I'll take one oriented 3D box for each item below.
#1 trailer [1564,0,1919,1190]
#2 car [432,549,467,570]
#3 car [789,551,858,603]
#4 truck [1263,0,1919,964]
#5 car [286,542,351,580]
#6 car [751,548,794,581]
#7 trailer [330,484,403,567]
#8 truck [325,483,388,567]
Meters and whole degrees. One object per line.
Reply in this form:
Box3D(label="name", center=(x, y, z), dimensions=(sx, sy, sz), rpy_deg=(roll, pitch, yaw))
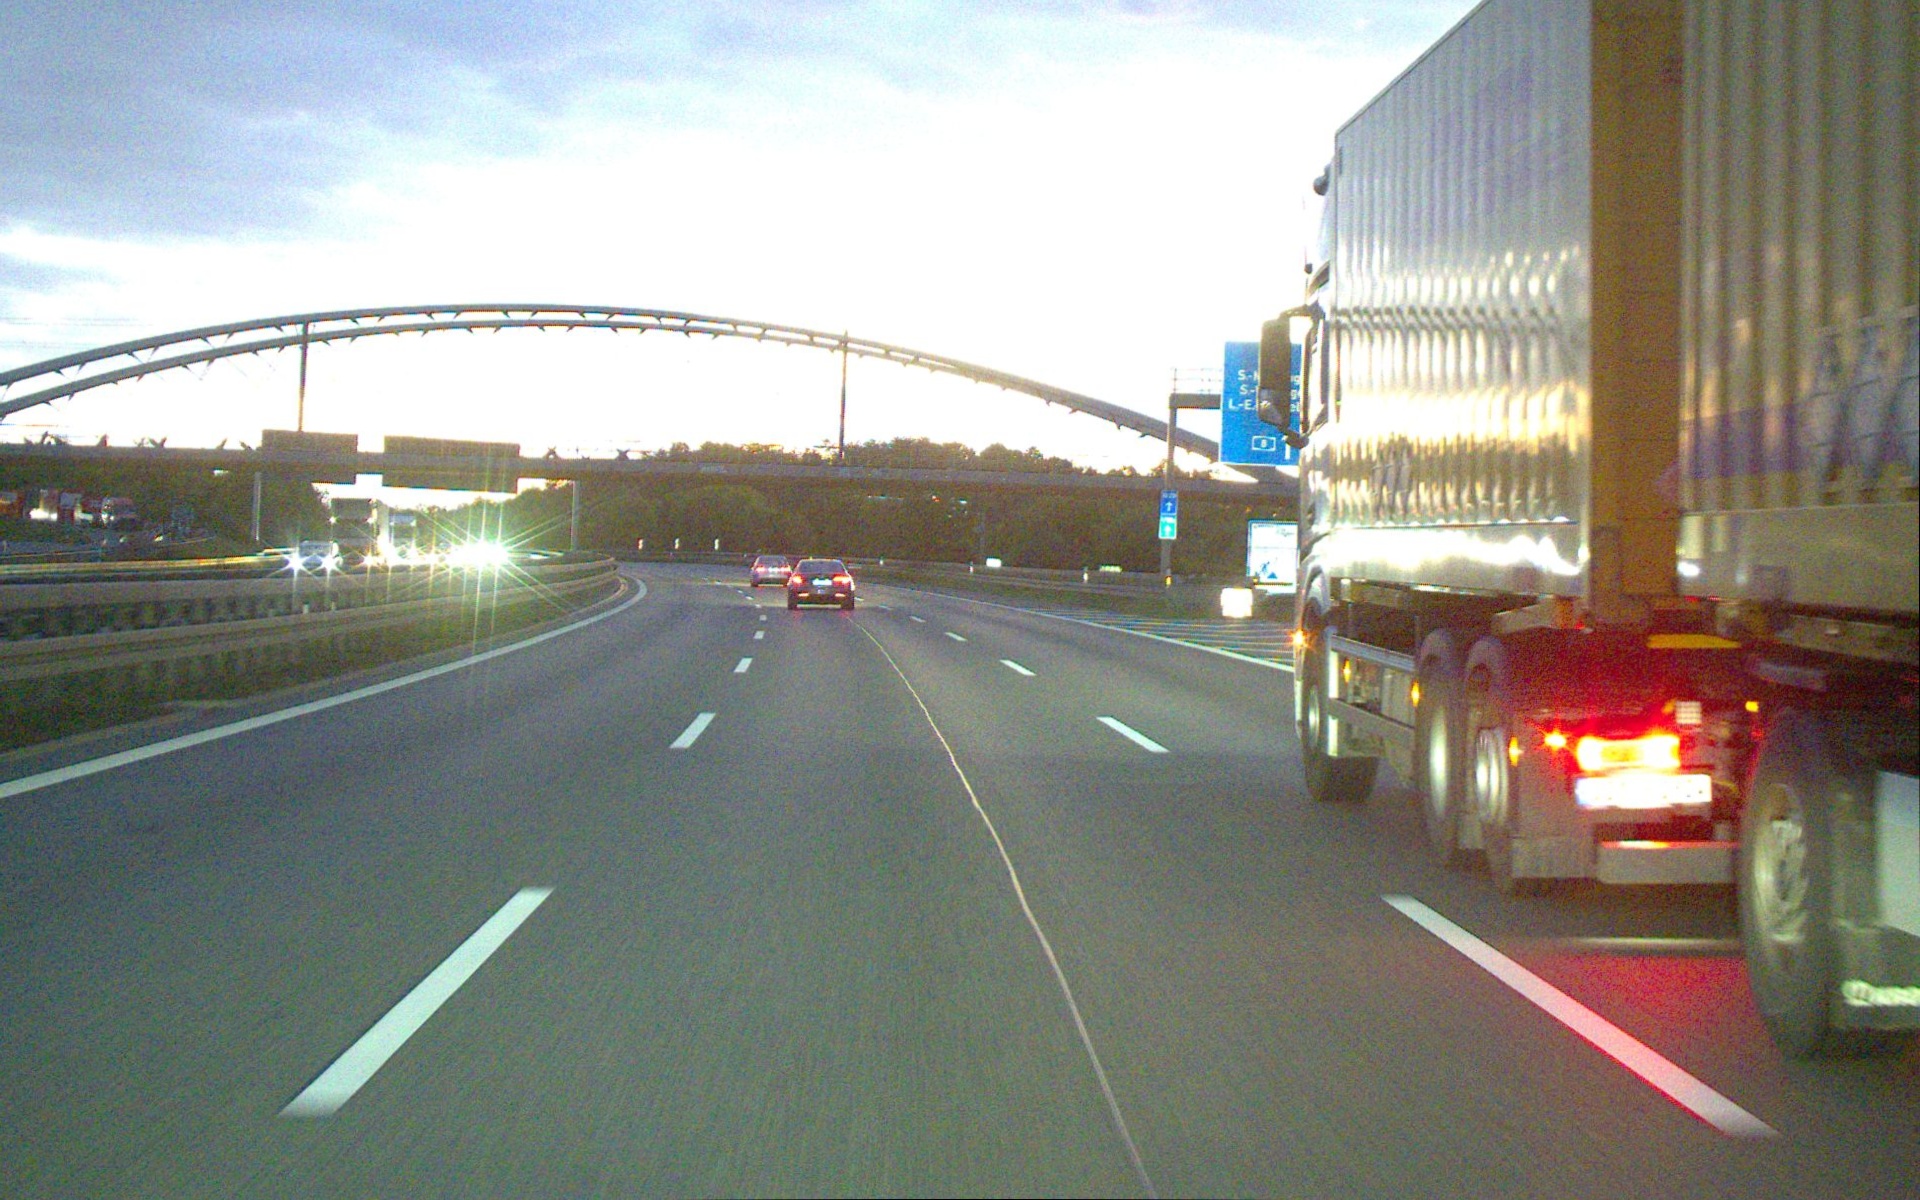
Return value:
Box3D(label="trailer", center=(3.642, -0.625, 8.050), dimensions=(2.722, 4.057, 8.831), rpy_deg=(1, 1, -1))
Box3D(label="car", center=(-34.647, -2.763, 233.508), dimensions=(1.993, 1.399, 4.330), rpy_deg=(1, 1, -4))
Box3D(label="car", center=(-3.884, -0.637, 97.608), dimensions=(1.689, 1.397, 3.409), rpy_deg=(1, -1, -6))
Box3D(label="truck", center=(3.479, -0.770, 17.797), dimensions=(2.690, 4.057, 10.521), rpy_deg=(1, 1, -1))
Box3D(label="car", center=(-28.149, -1.719, 151.027), dimensions=(1.993, 1.619, 4.844), rpy_deg=(1, 1, -1))
Box3D(label="car", center=(-8.499, -1.591, 156.272), dimensions=(1.689, 1.397, 3.408), rpy_deg=(0, -1, 1))
Box3D(label="trailer", center=(-33.554, -4.191, 194.796), dimensions=(2.824, 4.492, 14.631), rpy_deg=(1, 1, -5))
Box3D(label="truck", center=(-33.054, -4.082, 188.352), dimensions=(2.824, 4.492, 6.246), rpy_deg=(1, 1, -5))
